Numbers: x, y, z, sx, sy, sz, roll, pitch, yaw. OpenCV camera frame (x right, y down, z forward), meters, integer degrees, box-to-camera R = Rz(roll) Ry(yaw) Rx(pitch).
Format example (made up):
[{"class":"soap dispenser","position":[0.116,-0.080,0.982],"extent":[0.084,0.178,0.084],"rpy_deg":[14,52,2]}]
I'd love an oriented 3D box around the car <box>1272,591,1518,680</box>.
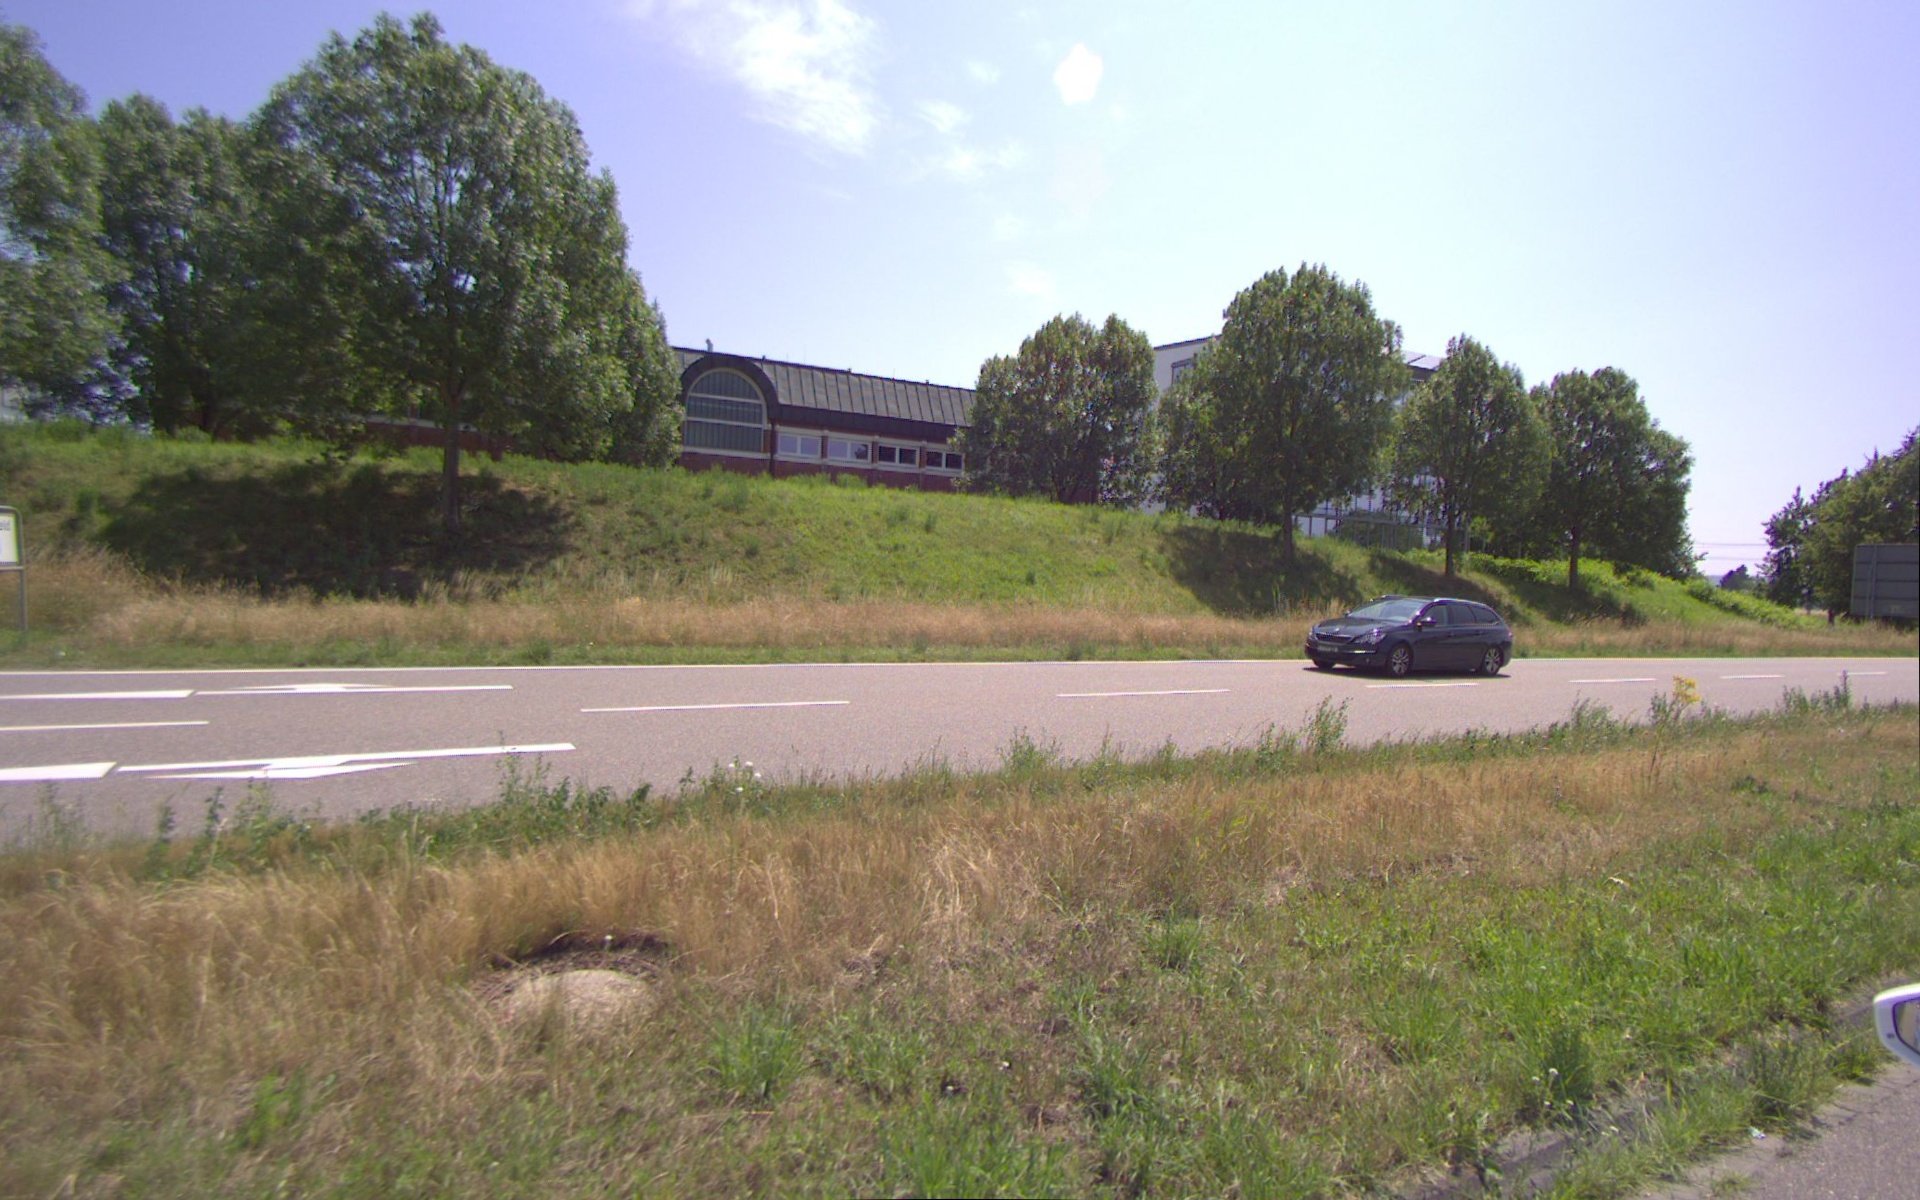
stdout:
[{"class":"car","position":[8.242,0.623,18.922],"extent":[4.615,1.378,1.982],"rpy_deg":[1,3,-33]}]
